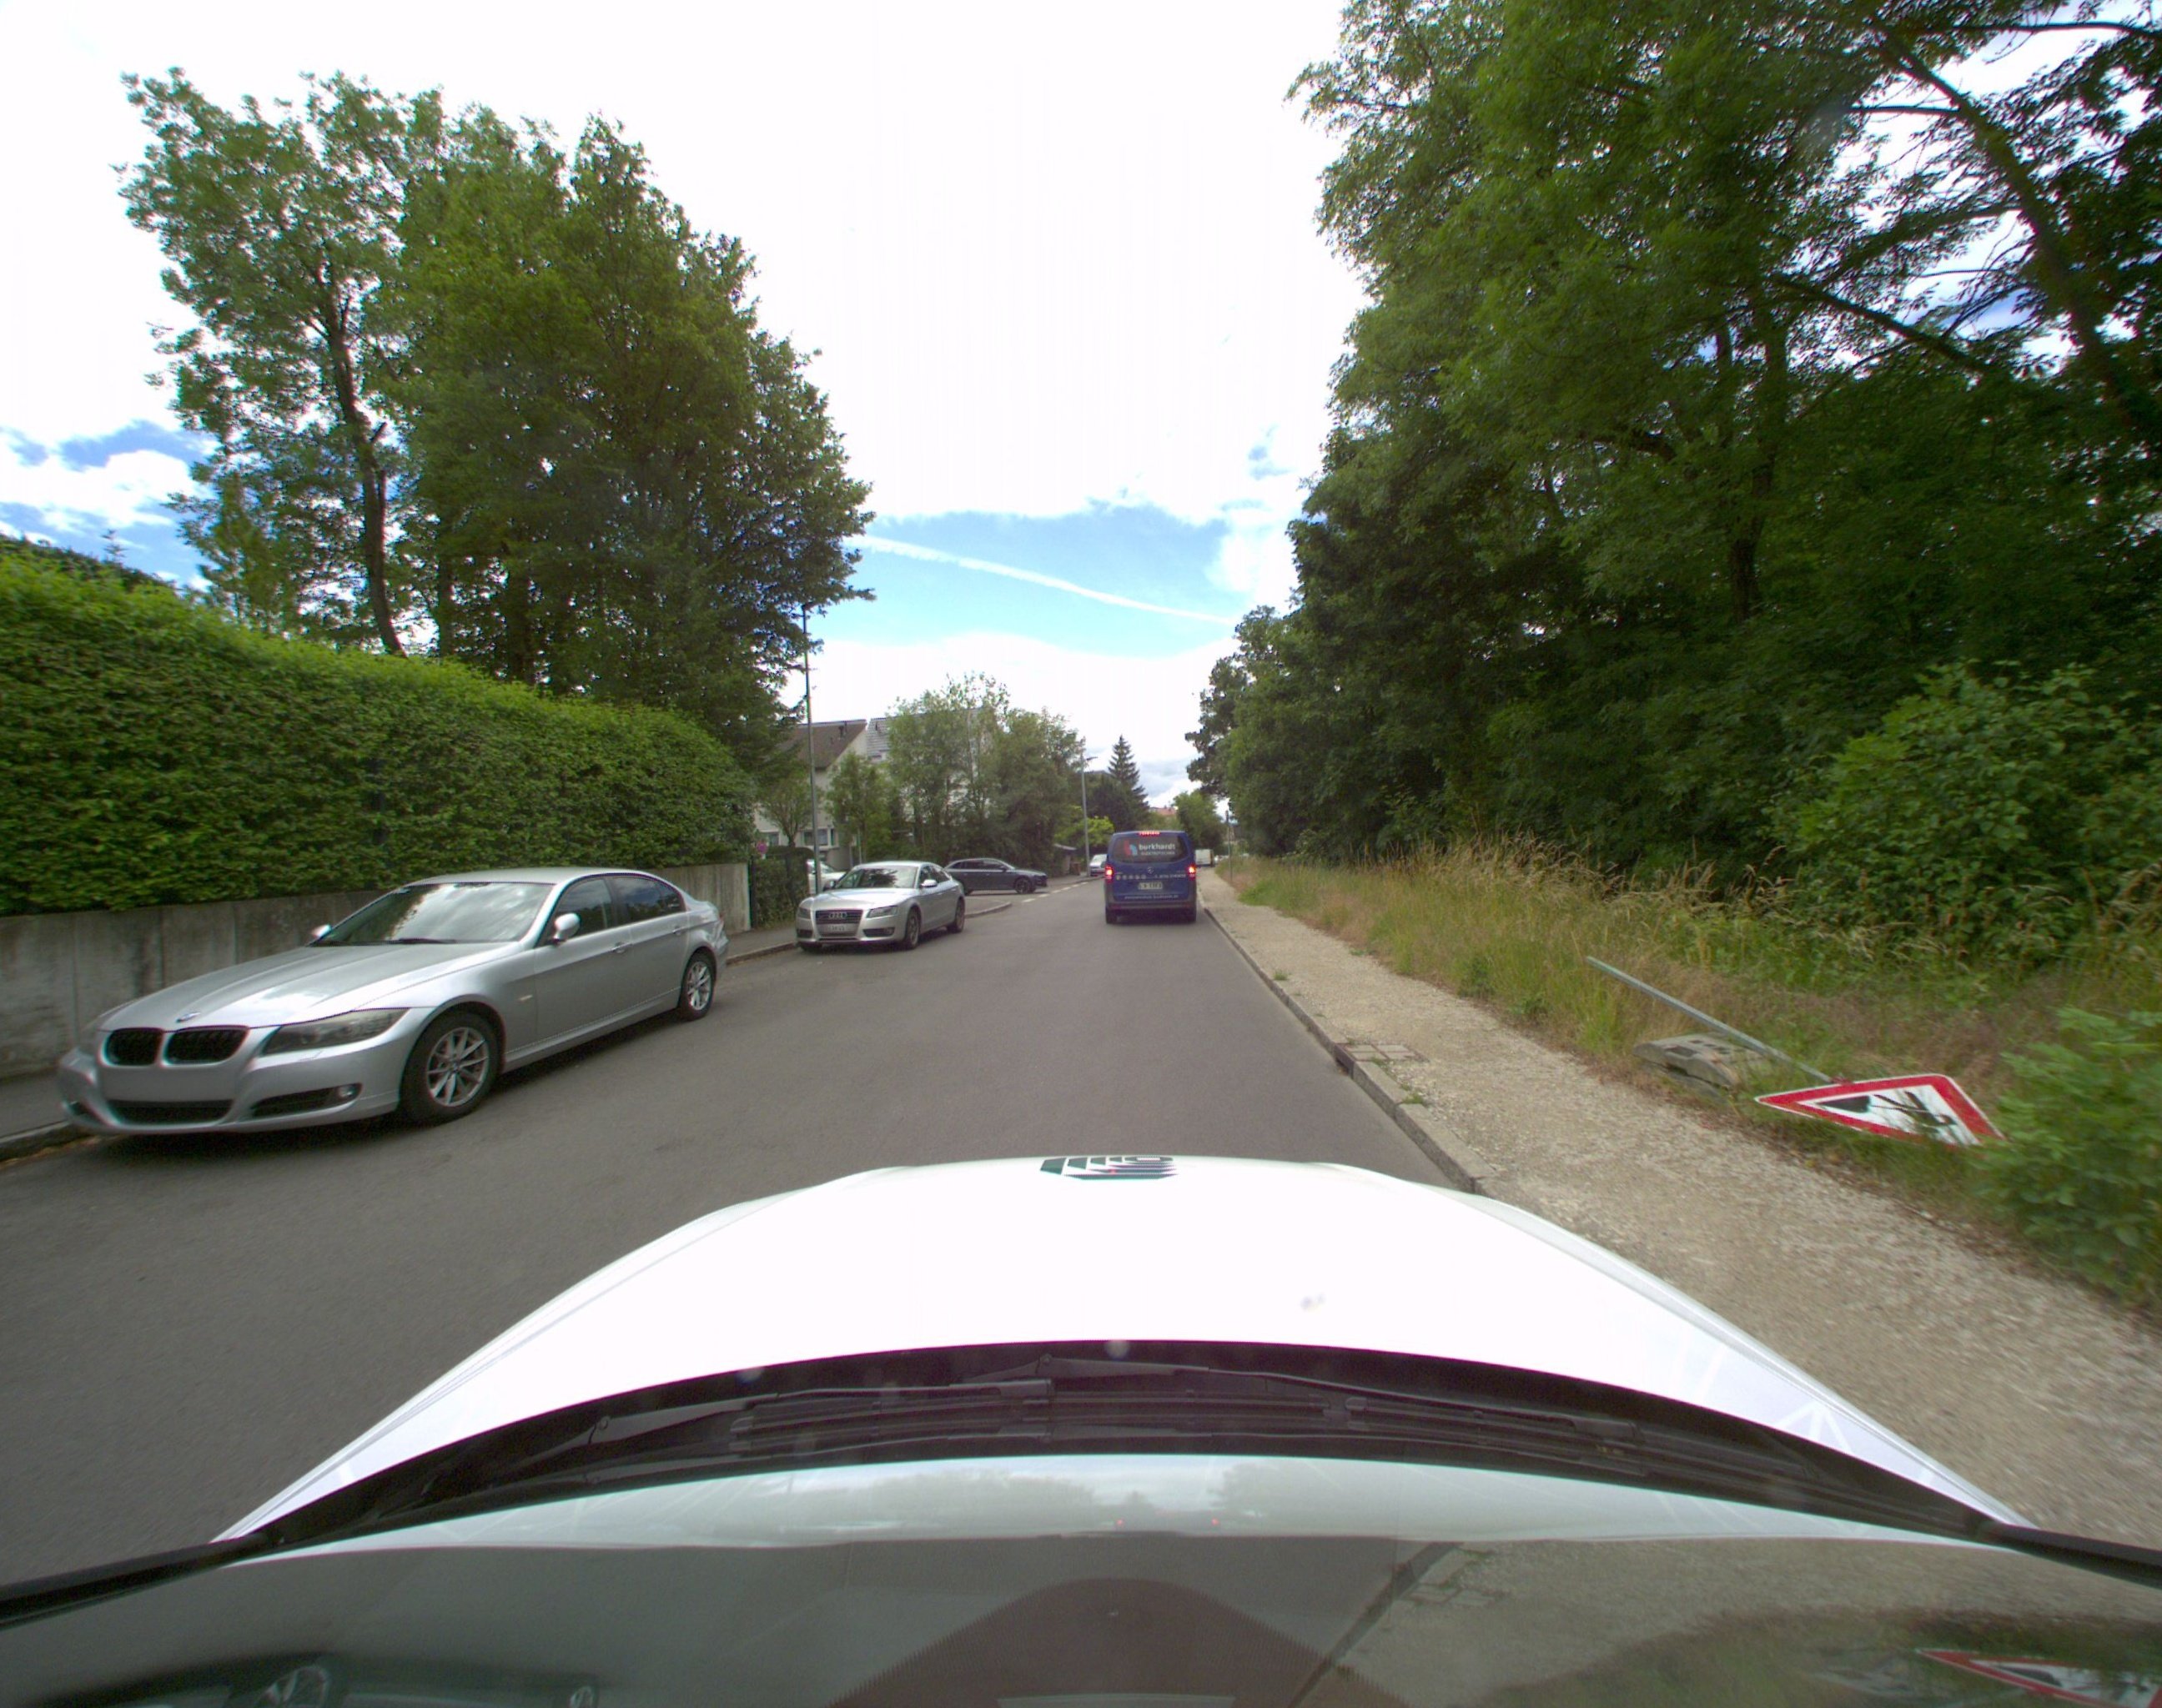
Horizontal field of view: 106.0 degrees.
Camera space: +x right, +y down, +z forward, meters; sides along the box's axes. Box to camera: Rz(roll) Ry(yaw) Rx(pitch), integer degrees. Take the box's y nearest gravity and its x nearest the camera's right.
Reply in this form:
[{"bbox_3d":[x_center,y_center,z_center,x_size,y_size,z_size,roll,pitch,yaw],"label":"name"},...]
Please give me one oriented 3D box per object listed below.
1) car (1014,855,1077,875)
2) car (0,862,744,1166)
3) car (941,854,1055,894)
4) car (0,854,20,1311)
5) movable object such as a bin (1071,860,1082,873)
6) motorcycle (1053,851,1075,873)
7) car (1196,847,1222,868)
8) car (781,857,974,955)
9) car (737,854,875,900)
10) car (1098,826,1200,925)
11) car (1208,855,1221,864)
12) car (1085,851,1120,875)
[{"bbox_3d":[-2.741,0.845,62.612,4.451,1.441,1.885,-1,-1,11],"label":"car"},{"bbox_3d":[-4.372,0.793,6.096,1.768,1.374,4.342,-1,0,1],"label":"car"},{"bbox_3d":[-3.253,0.785,32.374,4.144,1.447,1.744,-1,0,7],"label":"car"},{"bbox_3d":[-4.599,0.797,0.581,1.649,1.533,4.479,-1,0,4],"label":"car"},{"bbox_3d":[-0.286,0.897,57.474,0.586,0.909,0.703,-1,-1,15],"label":"movable object such as a bin"},{"bbox_3d":[-1.145,0.541,55.481,0.804,1.485,2.905,-1,0,11],"label":"motorcycle"},{"bbox_3d":[13.909,0.350,88.175,2.190,2.063,6.158,-2,0,14],"label":"car"},{"bbox_3d":[-3.306,0.782,14.264,1.822,1.374,4.453,-1,0,6],"label":"car"},{"bbox_3d":[-11.217,0.921,33.399,4.909,1.670,2.041,-2,-1,7],"label":"car"},{"bbox_3d":[1.509,0.411,18.138,1.927,1.880,4.536,-2,0,5],"label":"car"},{"bbox_3d":[22.696,0.918,138.466,1.736,1.404,4.016,-1,0,15],"label":"car"},{"bbox_3d":[1.421,0.558,52.673,1.695,1.468,4.086,-1,0,9],"label":"car"}]
